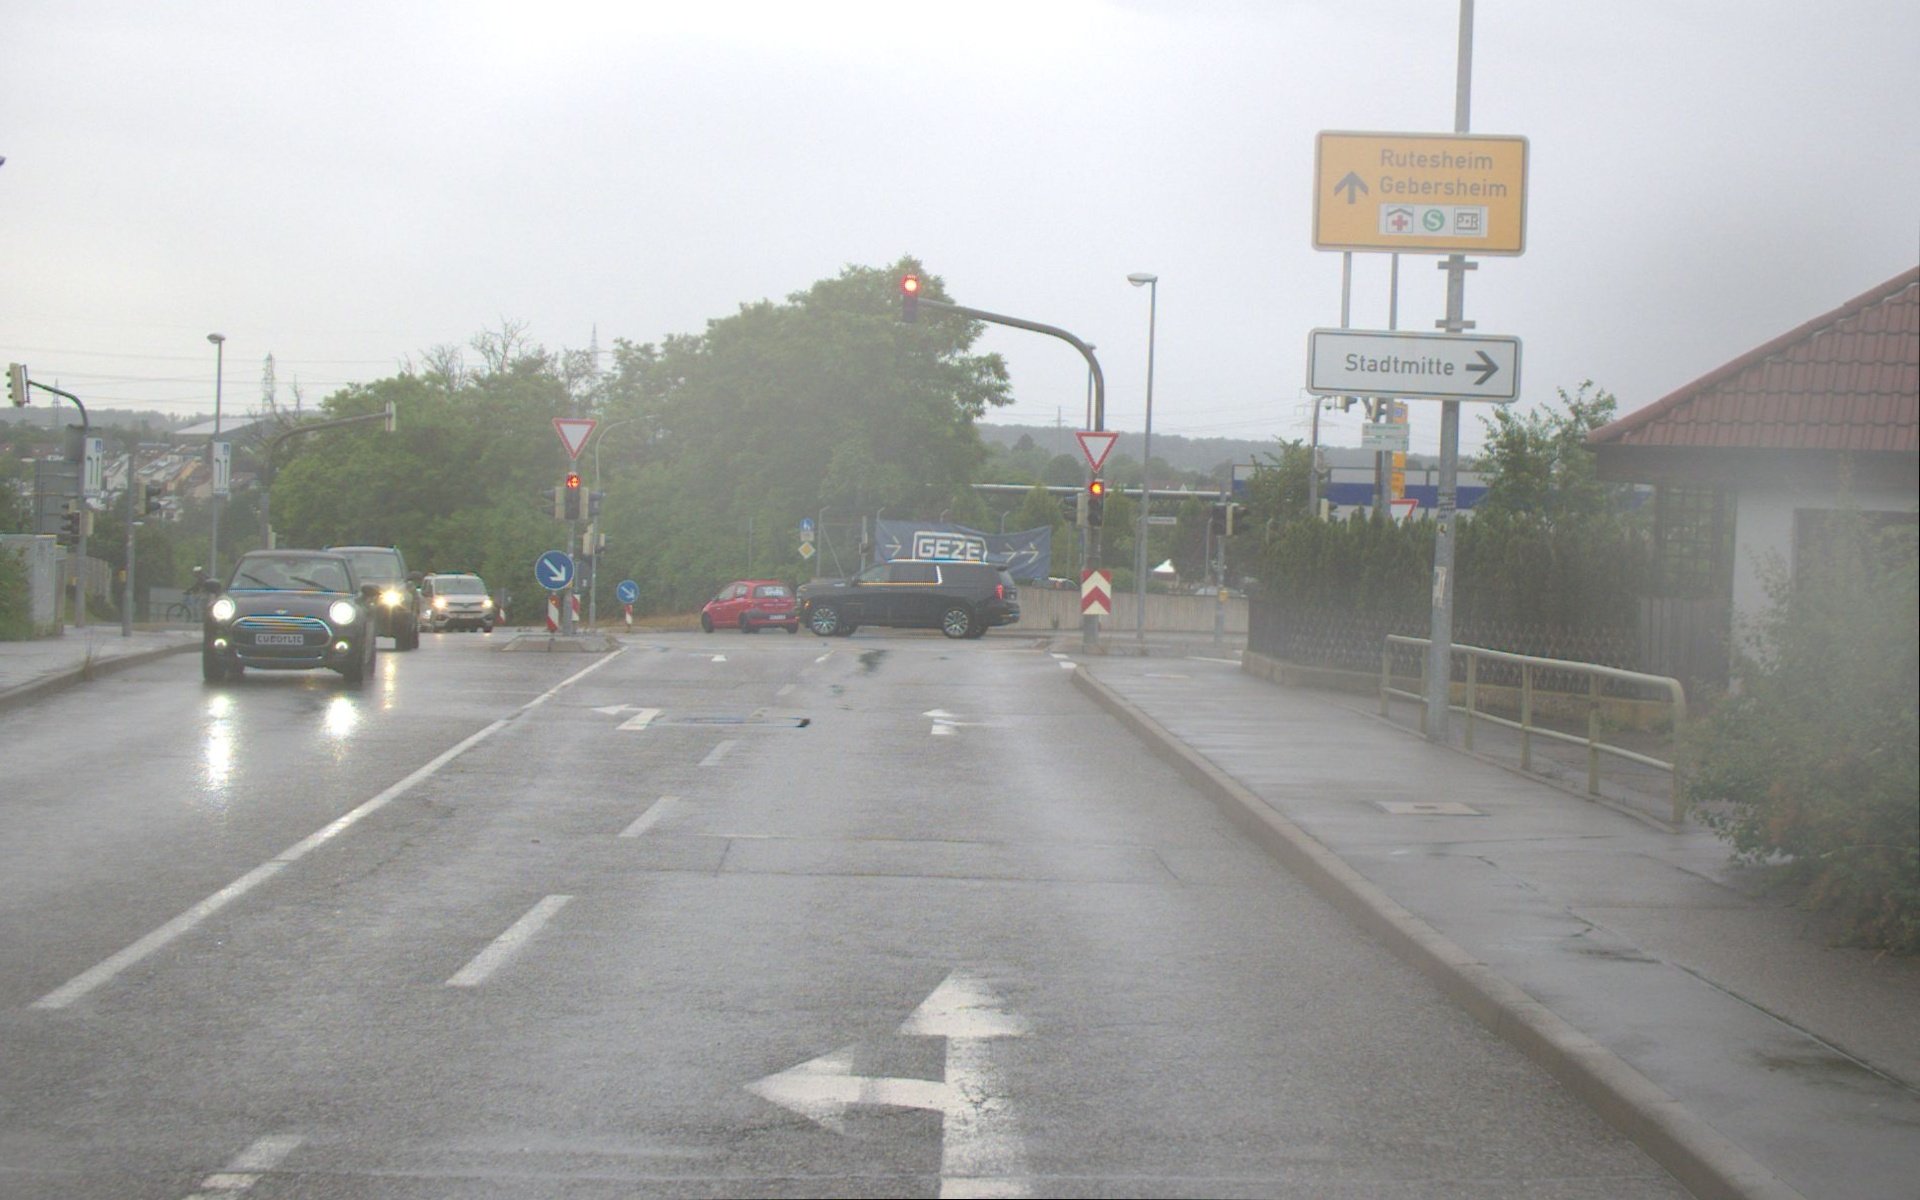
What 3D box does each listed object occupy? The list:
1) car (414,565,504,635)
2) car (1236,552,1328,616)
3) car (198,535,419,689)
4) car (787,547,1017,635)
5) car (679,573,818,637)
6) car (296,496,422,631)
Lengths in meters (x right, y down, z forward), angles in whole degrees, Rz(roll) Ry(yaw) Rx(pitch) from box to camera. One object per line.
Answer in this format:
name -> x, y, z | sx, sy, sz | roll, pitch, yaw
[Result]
car -> -15.173, -0.021, 103.991 | 1.993, 2.007, 4.001 | -1, 1, -19
car -> 10.676, -0.536, 113.773 | 1.996, 2.007, 3.996 | 3, 1, 20
car -> -7.154, 0.090, 38.094 | 1.805, 1.518, 4.001 | 2, 1, -3
car -> -1.431, -0.241, 86.516 | 5.468, 2.007, 1.999 | -2, 1, 8
car -> -6.050, 0.117, 97.893 | 2.297, 1.684, 4.758 | -3, 1, -25
car -> -9.543, -0.616, 54.787 | 1.771, 2.007, 4.001 | 2, 1, -8
